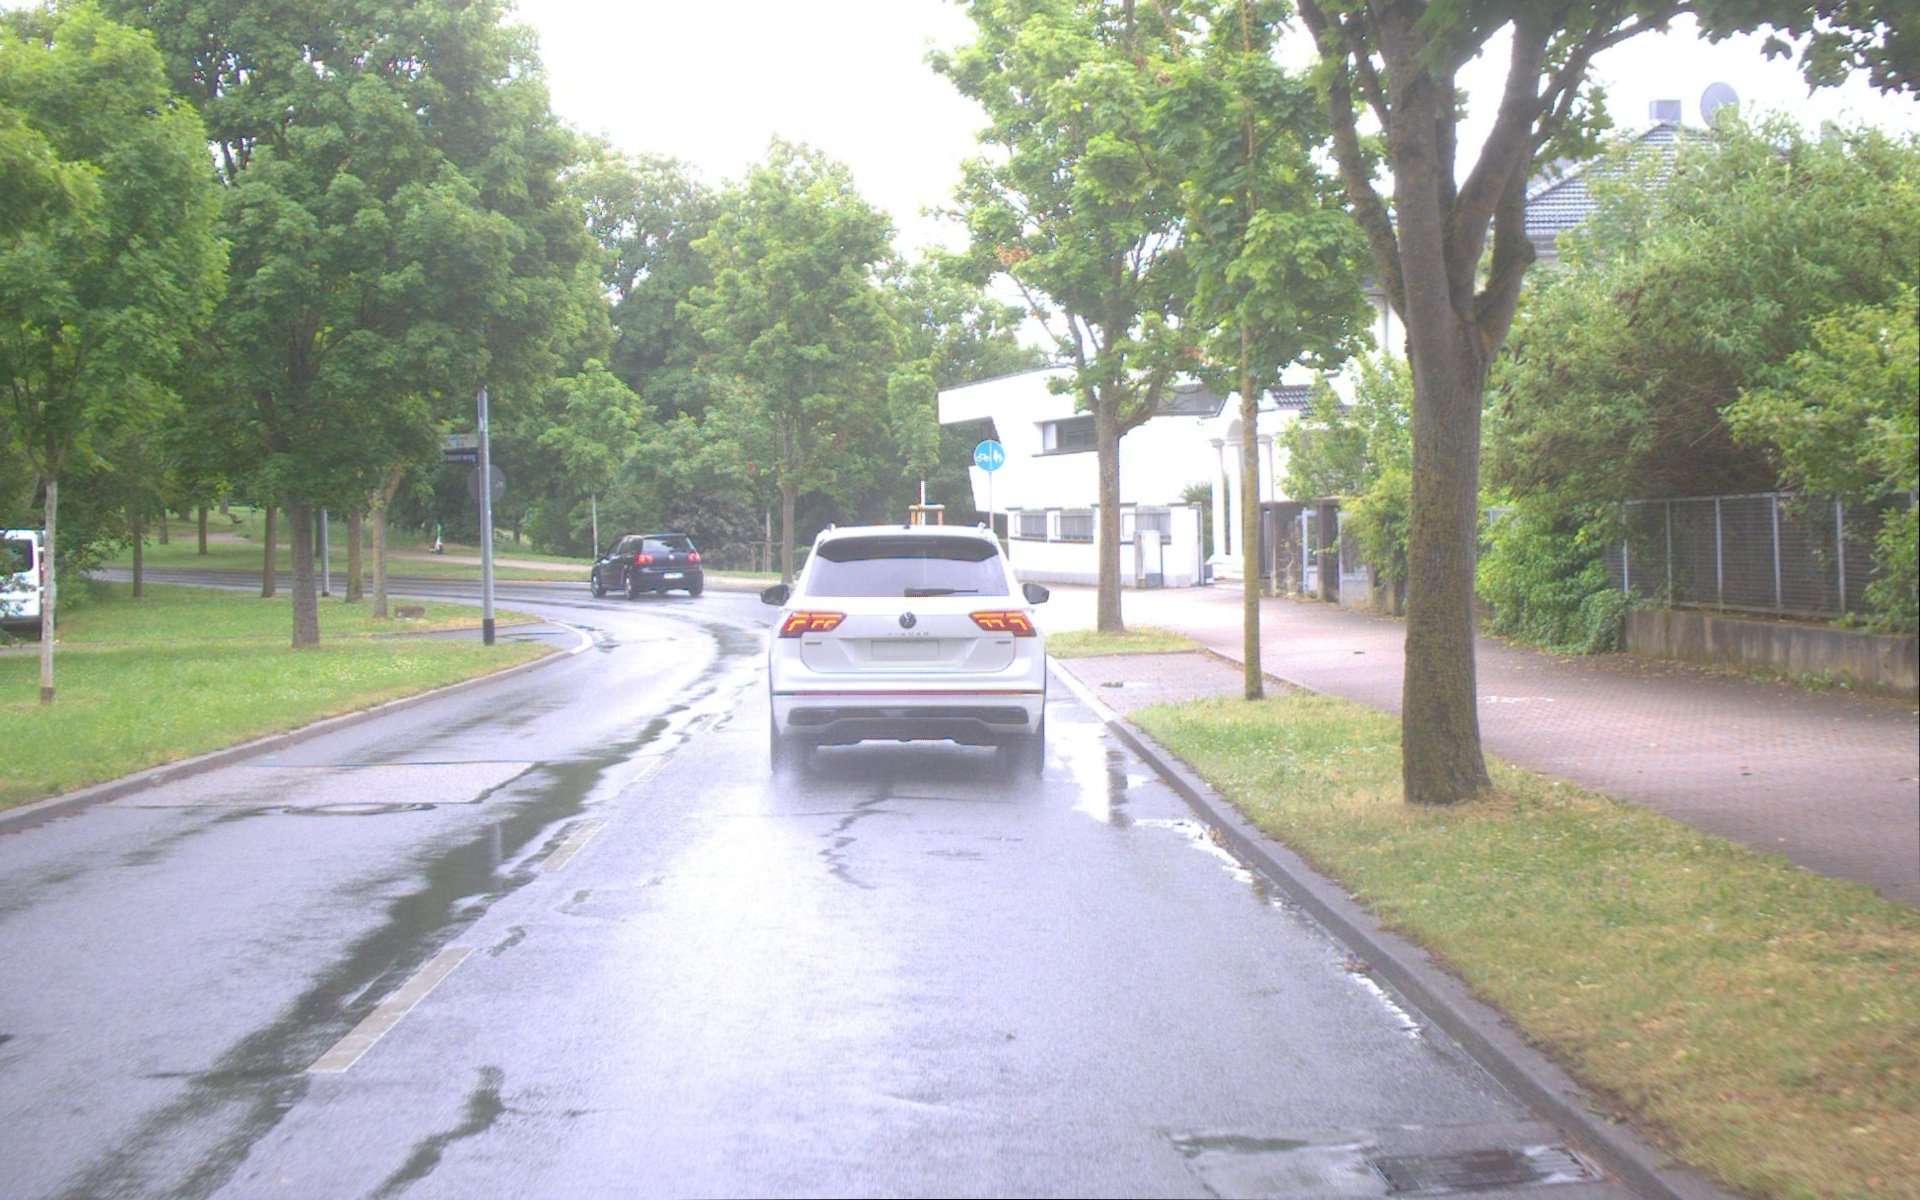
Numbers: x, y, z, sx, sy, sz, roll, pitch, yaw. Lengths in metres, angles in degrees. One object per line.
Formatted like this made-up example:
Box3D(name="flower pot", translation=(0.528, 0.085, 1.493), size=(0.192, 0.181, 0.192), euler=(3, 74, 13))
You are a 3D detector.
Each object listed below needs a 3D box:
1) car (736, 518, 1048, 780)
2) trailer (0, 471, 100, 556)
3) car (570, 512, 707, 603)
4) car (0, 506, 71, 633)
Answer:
Box3D(name="car", translation=(-0.439, 0.265, 23.857), size=(1.974, 1.647, 4.177), euler=(0, 1, 0))
Box3D(name="trailer", translation=(-33.021, -3.153, 124.043), size=(1.994, 2.798, 5.609), euler=(-8, 6, -31))
Box3D(name="car", translation=(-7.422, -0.986, 79.028), size=(1.900, 2.007, 3.945), euler=(1, 1, -25))
Box3D(name="car", translation=(-17.679, -0.581, 63.454), size=(2.127, 1.979, 5.477), euler=(-3, 4, -12))
